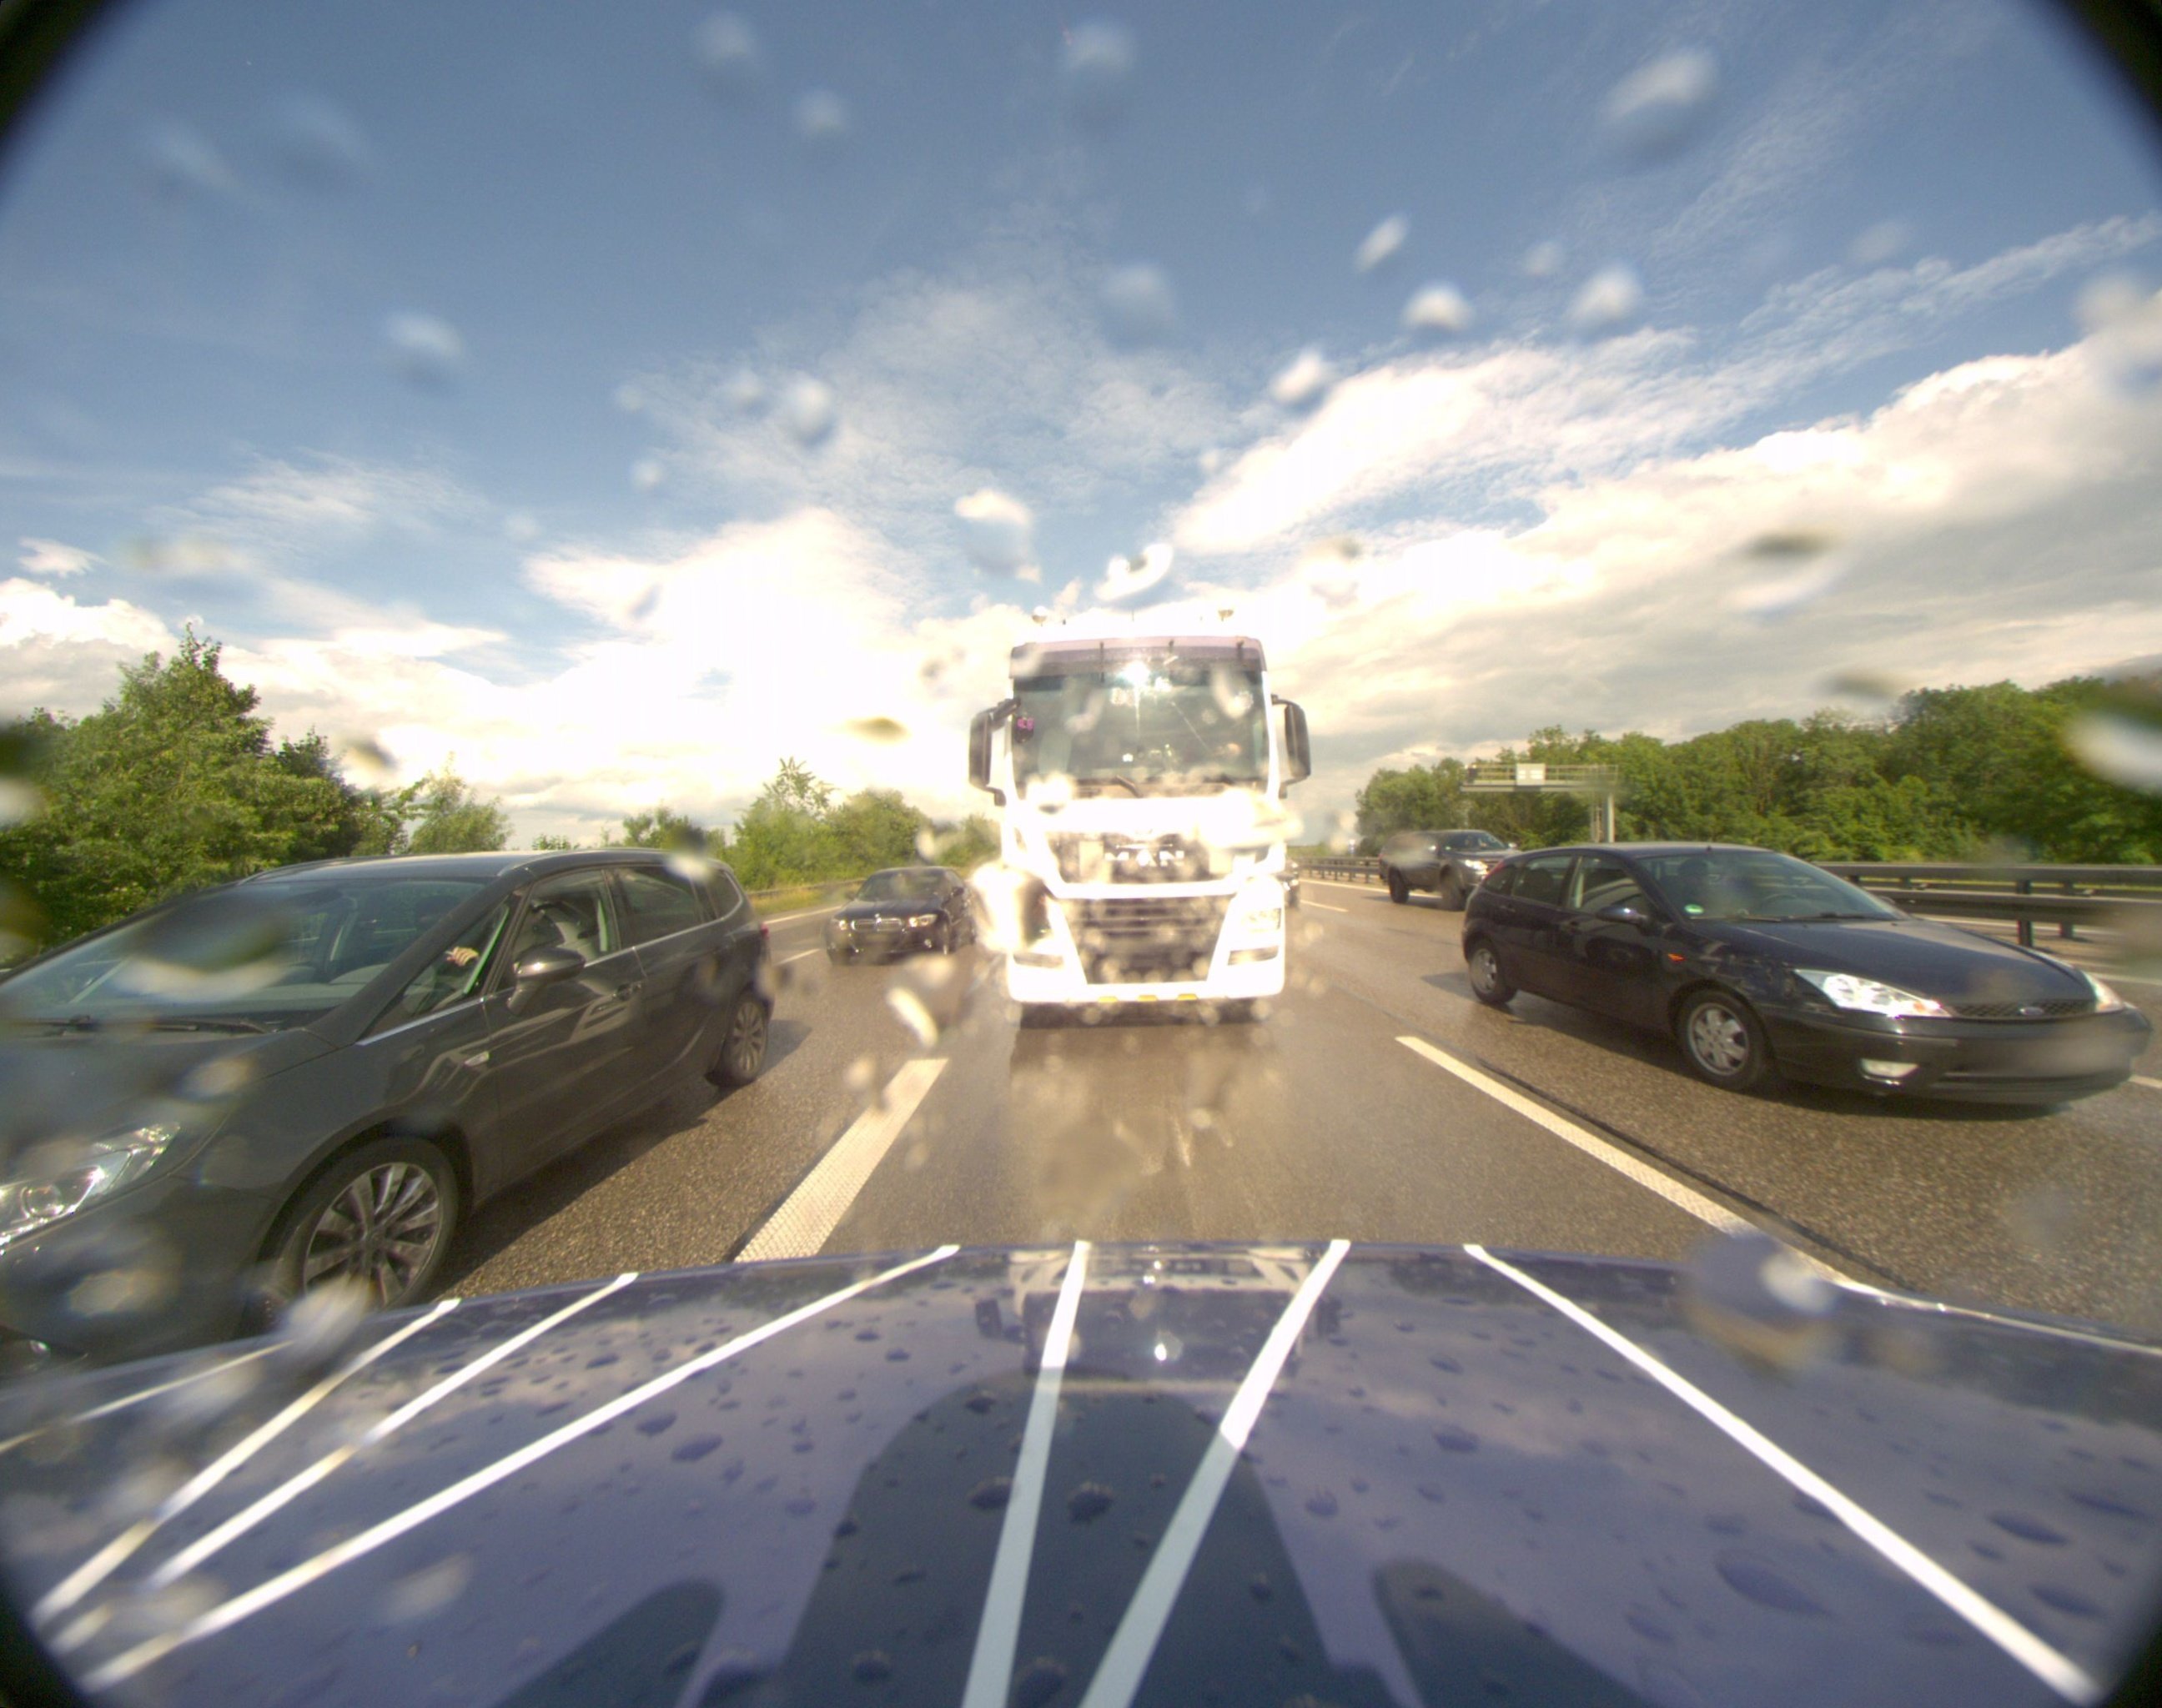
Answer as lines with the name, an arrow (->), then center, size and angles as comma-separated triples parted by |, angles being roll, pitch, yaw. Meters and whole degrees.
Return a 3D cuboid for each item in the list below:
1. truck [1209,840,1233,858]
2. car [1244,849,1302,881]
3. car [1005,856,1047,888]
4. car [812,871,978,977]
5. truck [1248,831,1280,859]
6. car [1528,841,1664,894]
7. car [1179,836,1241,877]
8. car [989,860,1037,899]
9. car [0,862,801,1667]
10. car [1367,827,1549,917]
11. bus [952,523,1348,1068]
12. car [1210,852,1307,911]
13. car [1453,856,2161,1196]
truck -> 18.595, -0.634, 101.420 | 1.922, 2.264, 8.919 | -2, 0, 3
car -> 9.467, 0.497, 37.823 | 1.924, 1.416, 4.372 | -2, 0, 2
car -> -2.751, 0.861, 38.733 | 1.858, 1.434, 3.999 | -2, 1, -1
car -> -2.885, 1.035, 12.649 | 1.722, 1.346, 3.884 | -2, 0, 0
truck -> 26.539, -1.302, 110.398 | 2.799, 3.861, 8.919 | -2, 0, 3
car -> 16.531, 0.397, 24.642 | 1.707, 1.508, 4.000 | -2, 0, 1
car -> 5.849, 0.096, 34.967 | 1.881, 1.669, 4.625 | -2, 0, -2
car -> -2.677, 0.973, 30.539 | 1.744, 1.357, 3.998 | -2, 0, -3
car -> -3.197, 0.919, 3.619 | 1.858, 1.622, 4.735 | -2, 0, 1
car -> 8.924, 0.359, 18.651 | 1.811, 1.833, 5.418 | -2, 0, 1
bus -> 0.578, -0.459, 10.796 | 2.904, 4.104, 9.844 | -2, 0, 0
car -> 4.809, 0.692, 21.093 | 1.754, 1.425, 4.054 | -2, 0, 1
car -> 4.534, 0.779, 5.411 | 1.763, 1.435, 3.999 | -2, 0, 0
